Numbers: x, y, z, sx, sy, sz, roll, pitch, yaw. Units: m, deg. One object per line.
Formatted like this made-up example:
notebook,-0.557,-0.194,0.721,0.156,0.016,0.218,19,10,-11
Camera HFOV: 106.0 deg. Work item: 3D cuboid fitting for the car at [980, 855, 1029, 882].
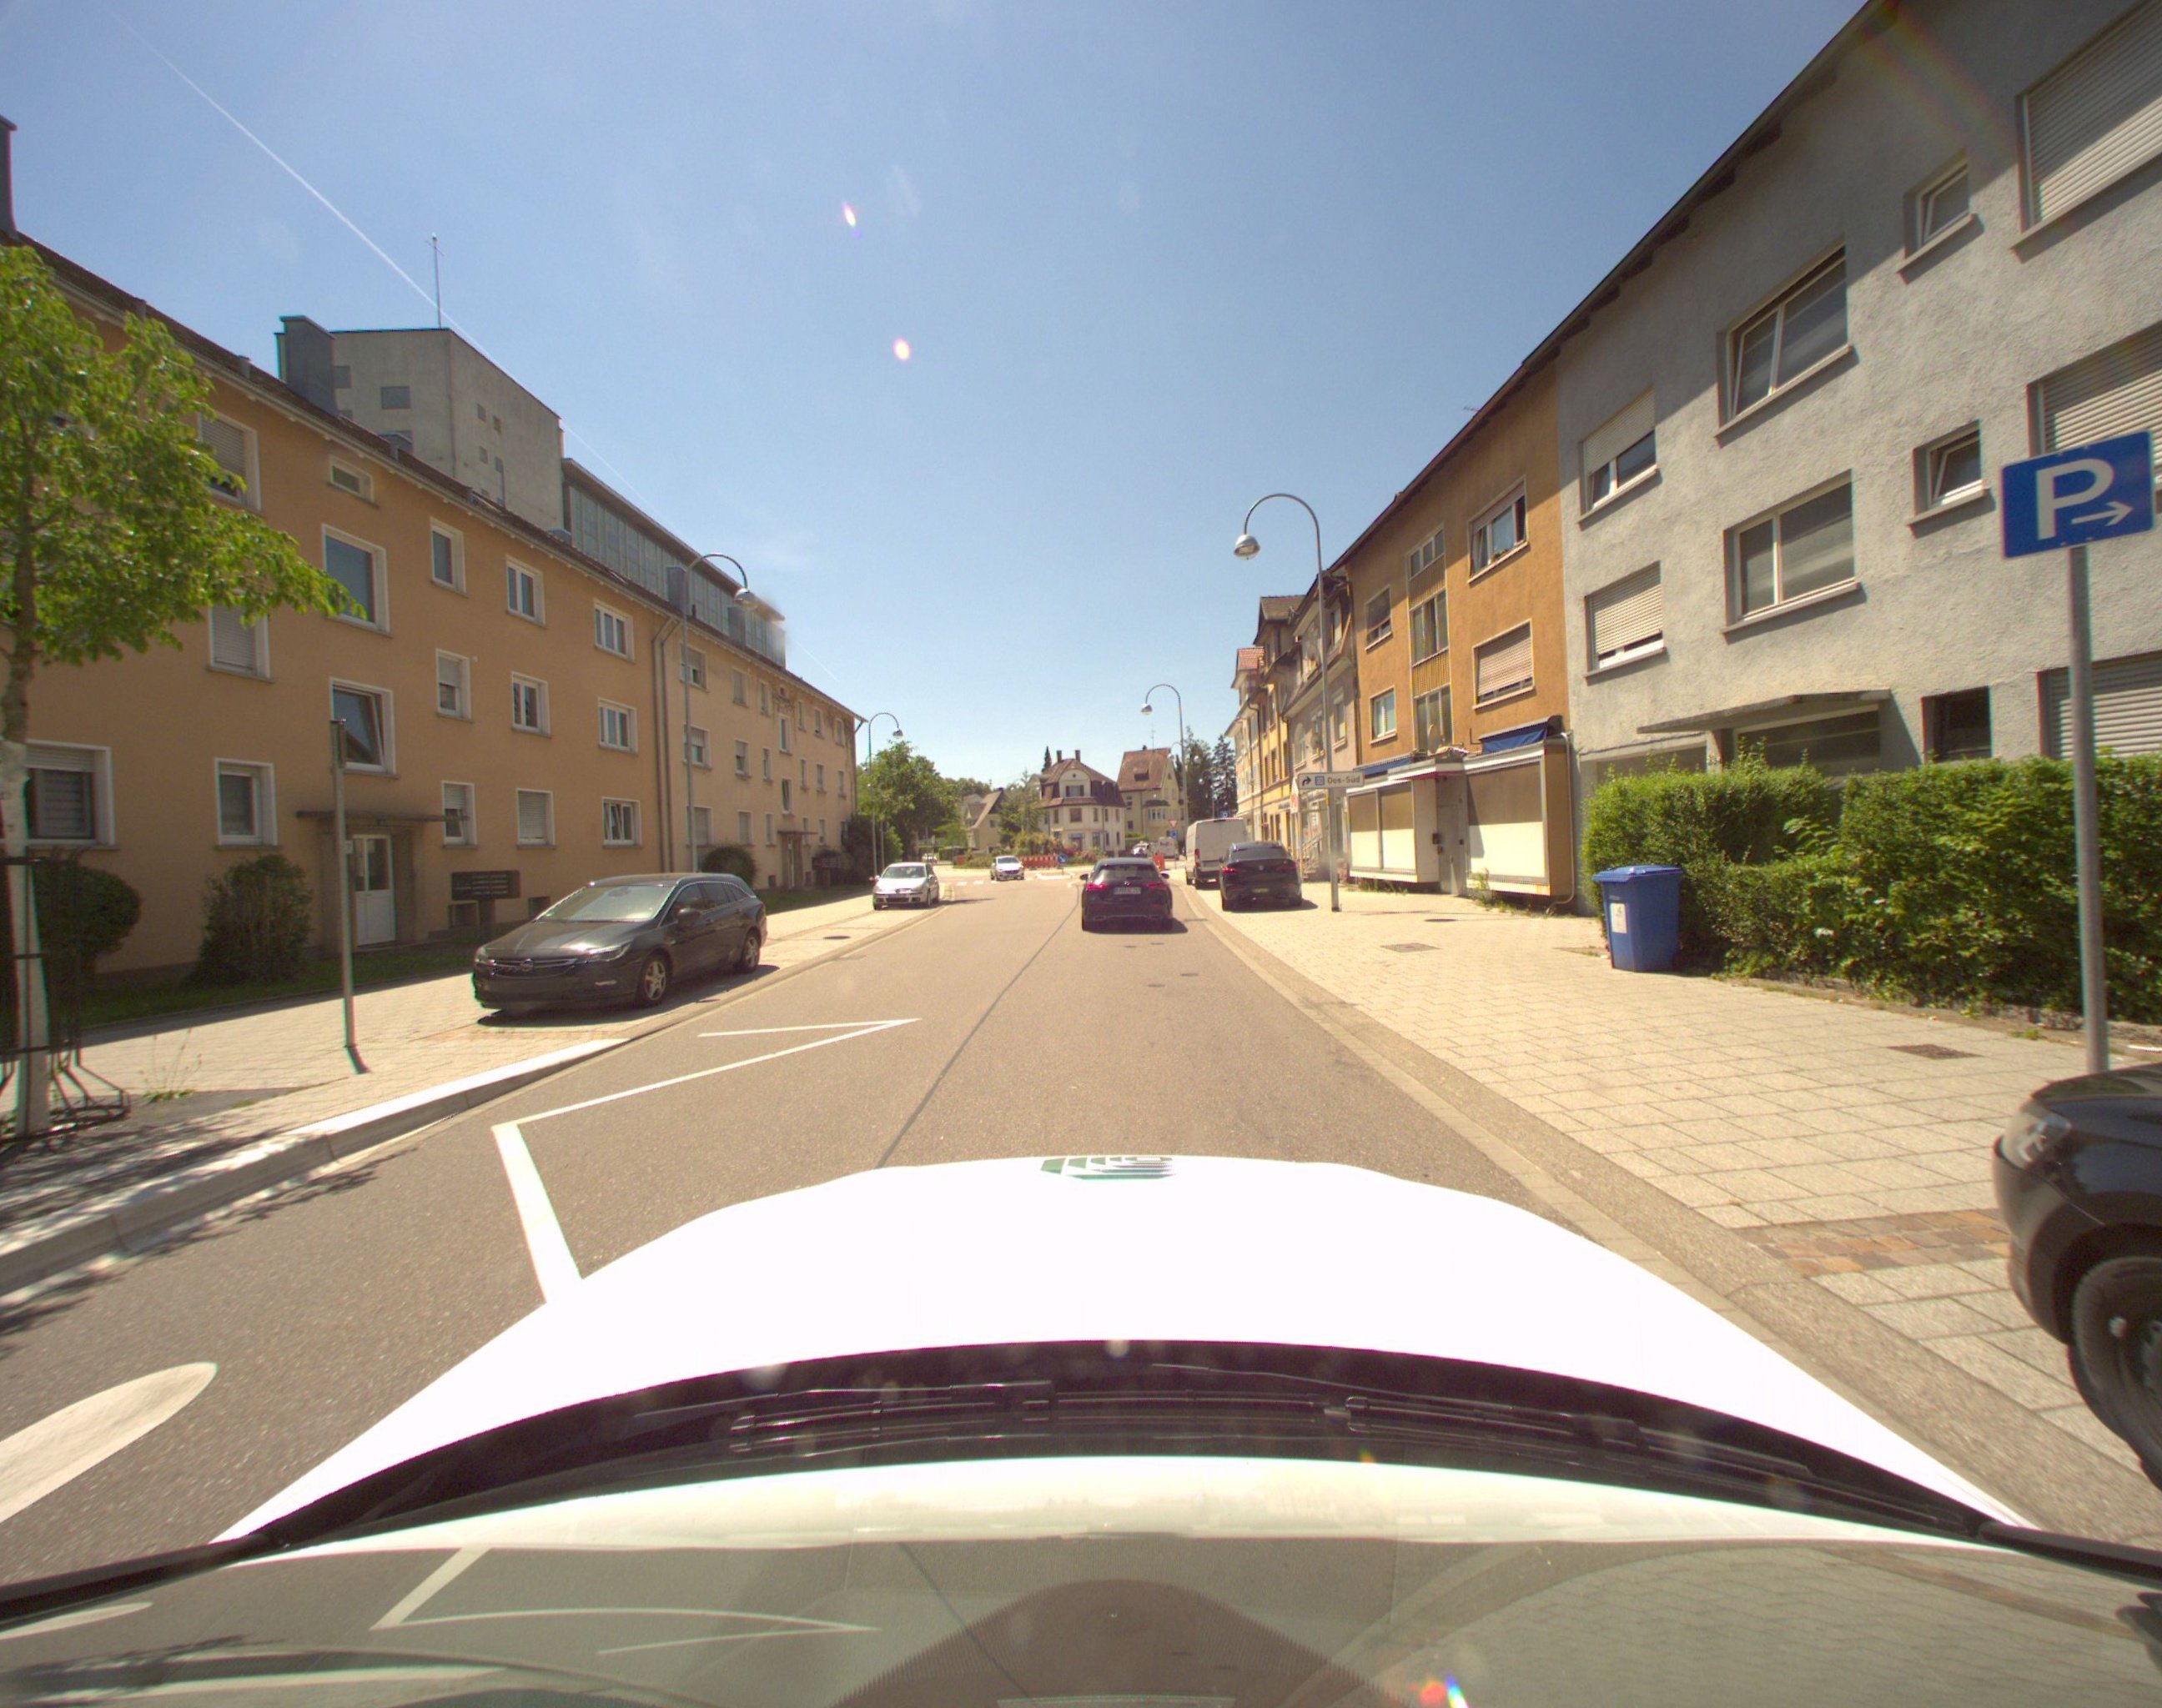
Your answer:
car,-4.678,0.882,49.535,1.669,1.496,3.726,-3,0,-27

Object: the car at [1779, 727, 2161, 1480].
car,3.042,0.489,0.618,1.720,1.633,4.006,-5,0,5

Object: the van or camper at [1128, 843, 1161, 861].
van or camper,8.031,-0.210,102.529,1.975,2.172,5.446,-1,-1,28

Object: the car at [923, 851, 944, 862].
car,-22.665,0.413,125.243,1.773,1.597,3.931,-2,-2,11

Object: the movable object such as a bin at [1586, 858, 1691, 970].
movable object such as a bin,5.757,0.601,8.442,0.591,1.076,0.647,-4,0,1

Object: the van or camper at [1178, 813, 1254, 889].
van or camper,5.155,-0.128,31.957,2.156,2.588,5.770,-4,0,3

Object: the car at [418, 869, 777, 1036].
car,-5.682,1.029,10.422,1.851,1.506,4.562,-1,1,0

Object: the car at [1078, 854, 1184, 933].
car,0.998,0.764,17.232,1.946,1.427,4.001,-2,-1,2

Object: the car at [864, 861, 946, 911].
car,-5.752,1.001,27.107,1.989,1.420,4.084,-2,0,-3

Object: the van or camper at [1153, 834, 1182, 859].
van or camper,9.461,-0.835,88.776,2.187,2.610,4.020,-2,0,19

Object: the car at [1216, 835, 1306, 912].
car,4.442,0.425,20.596,1.884,1.607,4.377,-4,0,10
